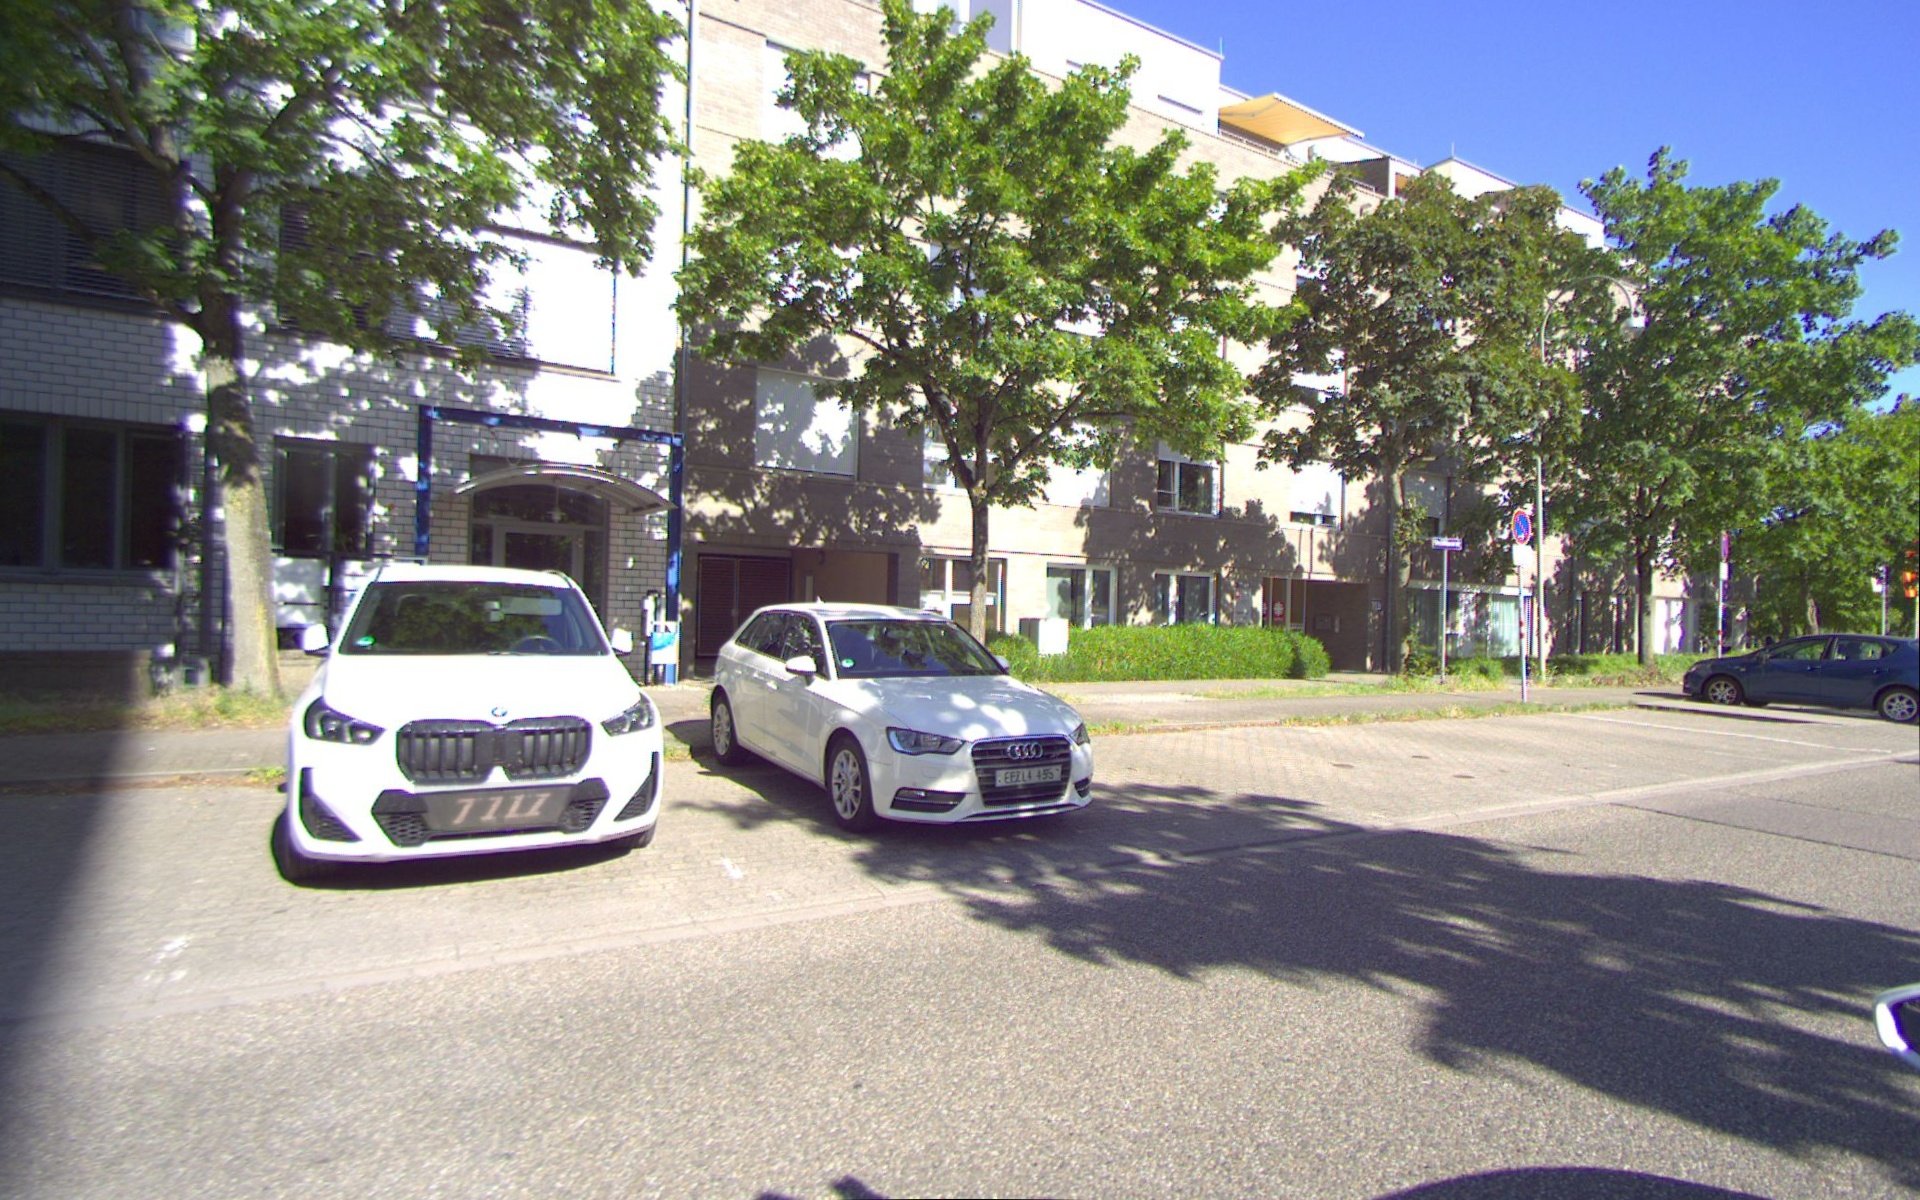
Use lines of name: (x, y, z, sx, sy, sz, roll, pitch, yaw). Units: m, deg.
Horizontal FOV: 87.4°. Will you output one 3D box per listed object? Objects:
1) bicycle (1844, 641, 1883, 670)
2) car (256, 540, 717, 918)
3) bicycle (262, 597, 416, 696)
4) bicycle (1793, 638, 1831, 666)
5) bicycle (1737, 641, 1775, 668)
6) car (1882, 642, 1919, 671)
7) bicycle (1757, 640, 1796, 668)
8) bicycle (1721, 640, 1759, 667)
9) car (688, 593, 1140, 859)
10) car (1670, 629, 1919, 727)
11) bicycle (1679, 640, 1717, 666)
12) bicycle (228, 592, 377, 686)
bicycle: (33.524, 2.065, 37.252, 2.168, 1.061, 0.435, 2, 0, -31)
car: (-3.175, 0.533, 6.624, 1.930, 1.623, 4.205, 3, 0, -30)
bicycle: (-7.855, 0.593, 12.770, 1.609, 1.191, 0.336, 2, 0, -31)
bicycle: (33.802, 2.079, 39.833, 2.168, 1.061, 0.435, 2, 0, -31)
bicycle: (31.985, 2.186, 40.368, 2.168, 1.061, 0.435, 2, 0, -31)
car: (50.724, 2.958, 52.017, 1.605, 1.470, 4.060, 2, -3, -29)
bicycle: (32.150, 2.125, 39.536, 2.168, 1.061, 0.435, 2, 0, -31)
bicycle: (31.722, 2.189, 40.832, 2.168, 1.061, 0.435, 2, 0, -31)
car: (-0.669, 0.723, 7.956, 1.780, 1.499, 4.236, 2, -1, -31)
car: (15.283, 1.327, 17.862, 1.798, 1.430, 3.962, 2, 0, -34)
bicycle: (30.930, 2.220, 42.075, 2.168, 1.061, 0.435, 2, 0, -31)
bicycle: (-8.695, 0.522, 13.344, 1.609, 1.191, 0.336, 2, 0, -31)
